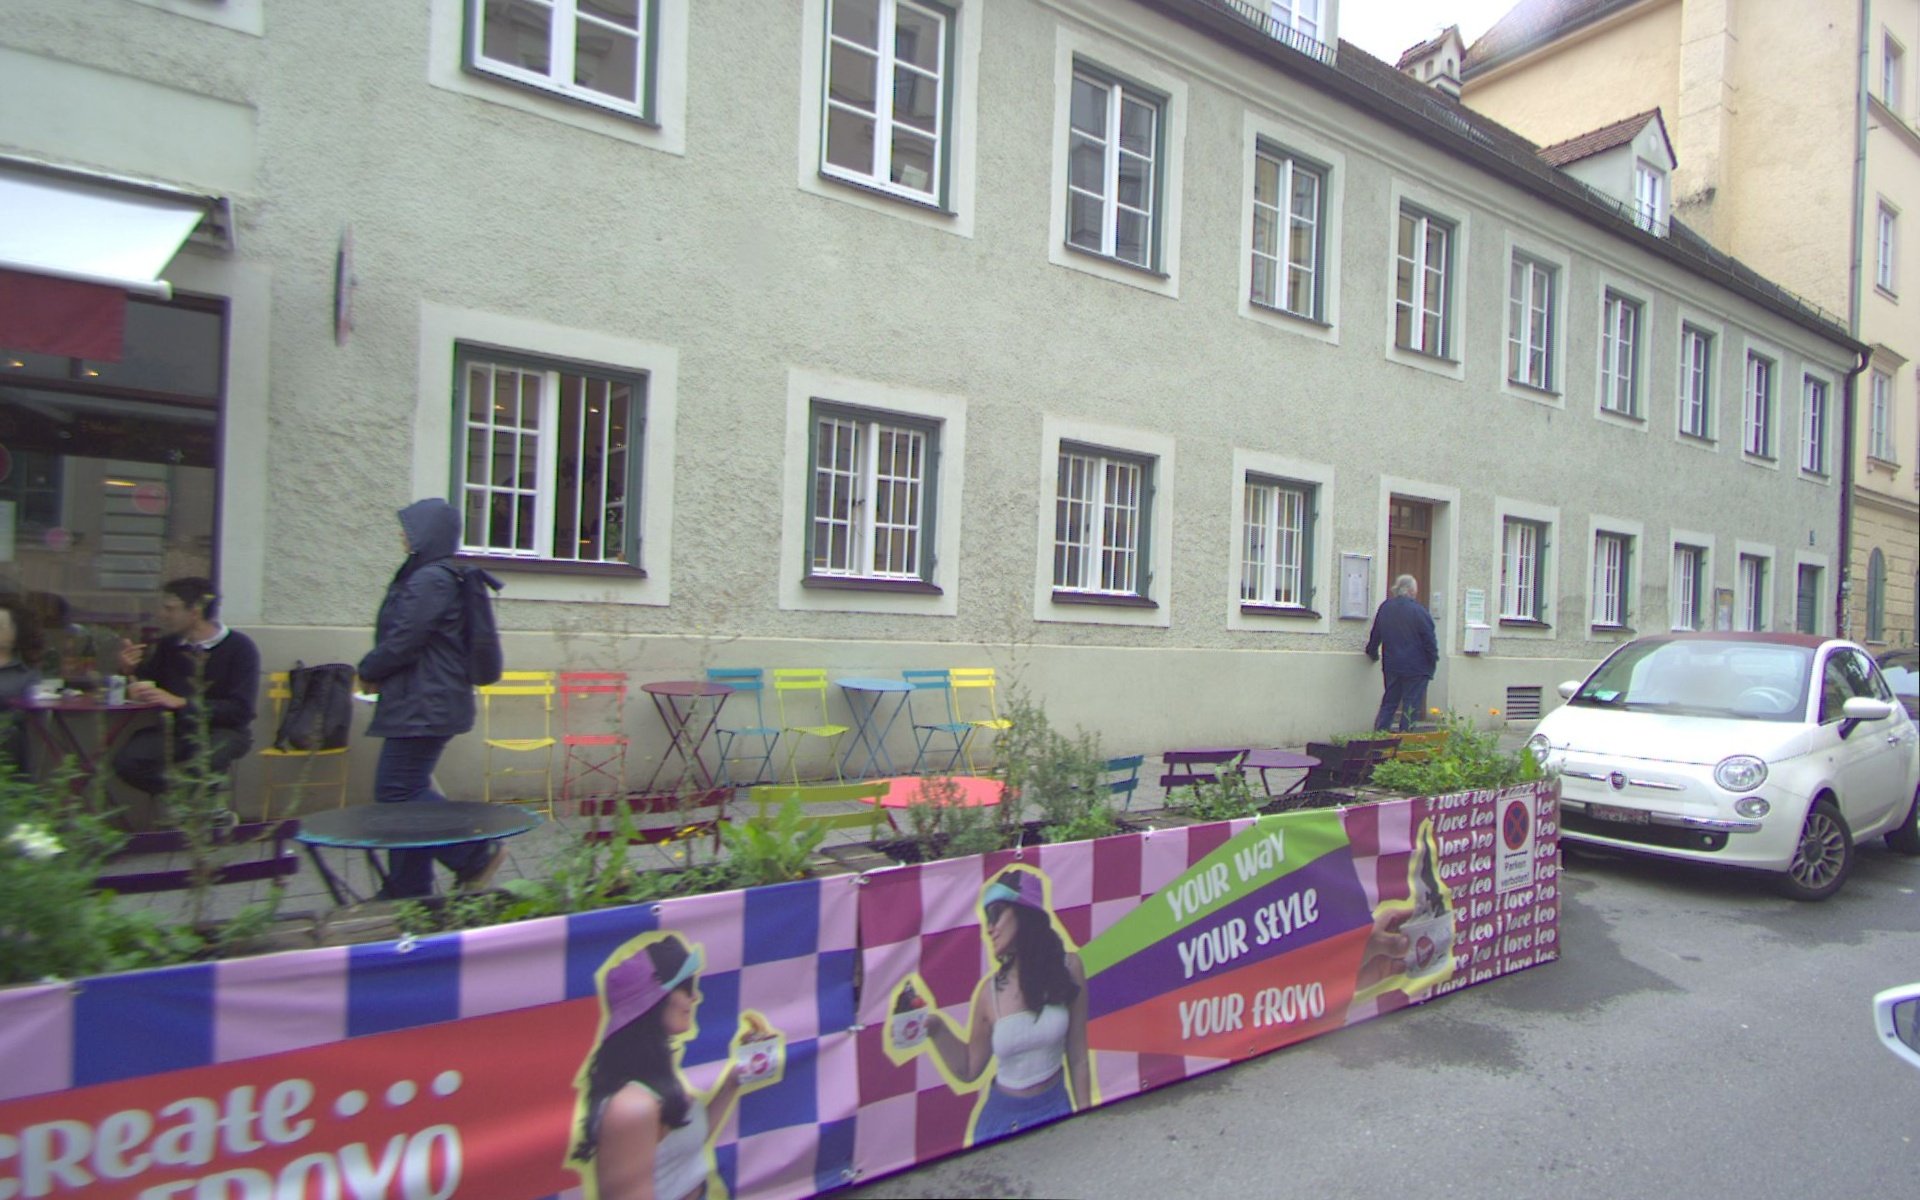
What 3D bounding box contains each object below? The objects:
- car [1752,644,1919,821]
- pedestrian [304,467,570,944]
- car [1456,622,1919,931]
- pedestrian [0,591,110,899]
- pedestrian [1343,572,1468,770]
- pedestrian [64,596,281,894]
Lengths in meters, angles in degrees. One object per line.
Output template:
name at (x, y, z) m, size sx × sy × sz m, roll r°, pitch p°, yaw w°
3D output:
car at (9.503, 1.138, 9.502) m, size 4.636 × 1.357 × 1.787 m, roll 1°, pitch 0°, yaw -33°
pedestrian at (-2.205, 0.418, 4.262) m, size 0.868 × 1.805 × 0.525 m, roll 3°, pitch -1°, yaw -32°
car at (5.226, 0.966, 6.862) m, size 3.677 × 1.494 × 1.743 m, roll 2°, pitch 0°, yaw -35°
pedestrian at (-4.418, 0.614, 4.553) m, size 0.686 × 1.307 × 0.799 m, roll 3°, pitch -2°, yaw -32°
pedestrian at (4.581, 0.710, 10.351) m, size 0.819 × 1.922 × 0.818 m, roll 3°, pitch -2°, yaw -33°
pedestrian at (-3.817, 0.653, 4.941) m, size 0.686 × 1.307 × 0.799 m, roll 3°, pitch -2°, yaw -32°
